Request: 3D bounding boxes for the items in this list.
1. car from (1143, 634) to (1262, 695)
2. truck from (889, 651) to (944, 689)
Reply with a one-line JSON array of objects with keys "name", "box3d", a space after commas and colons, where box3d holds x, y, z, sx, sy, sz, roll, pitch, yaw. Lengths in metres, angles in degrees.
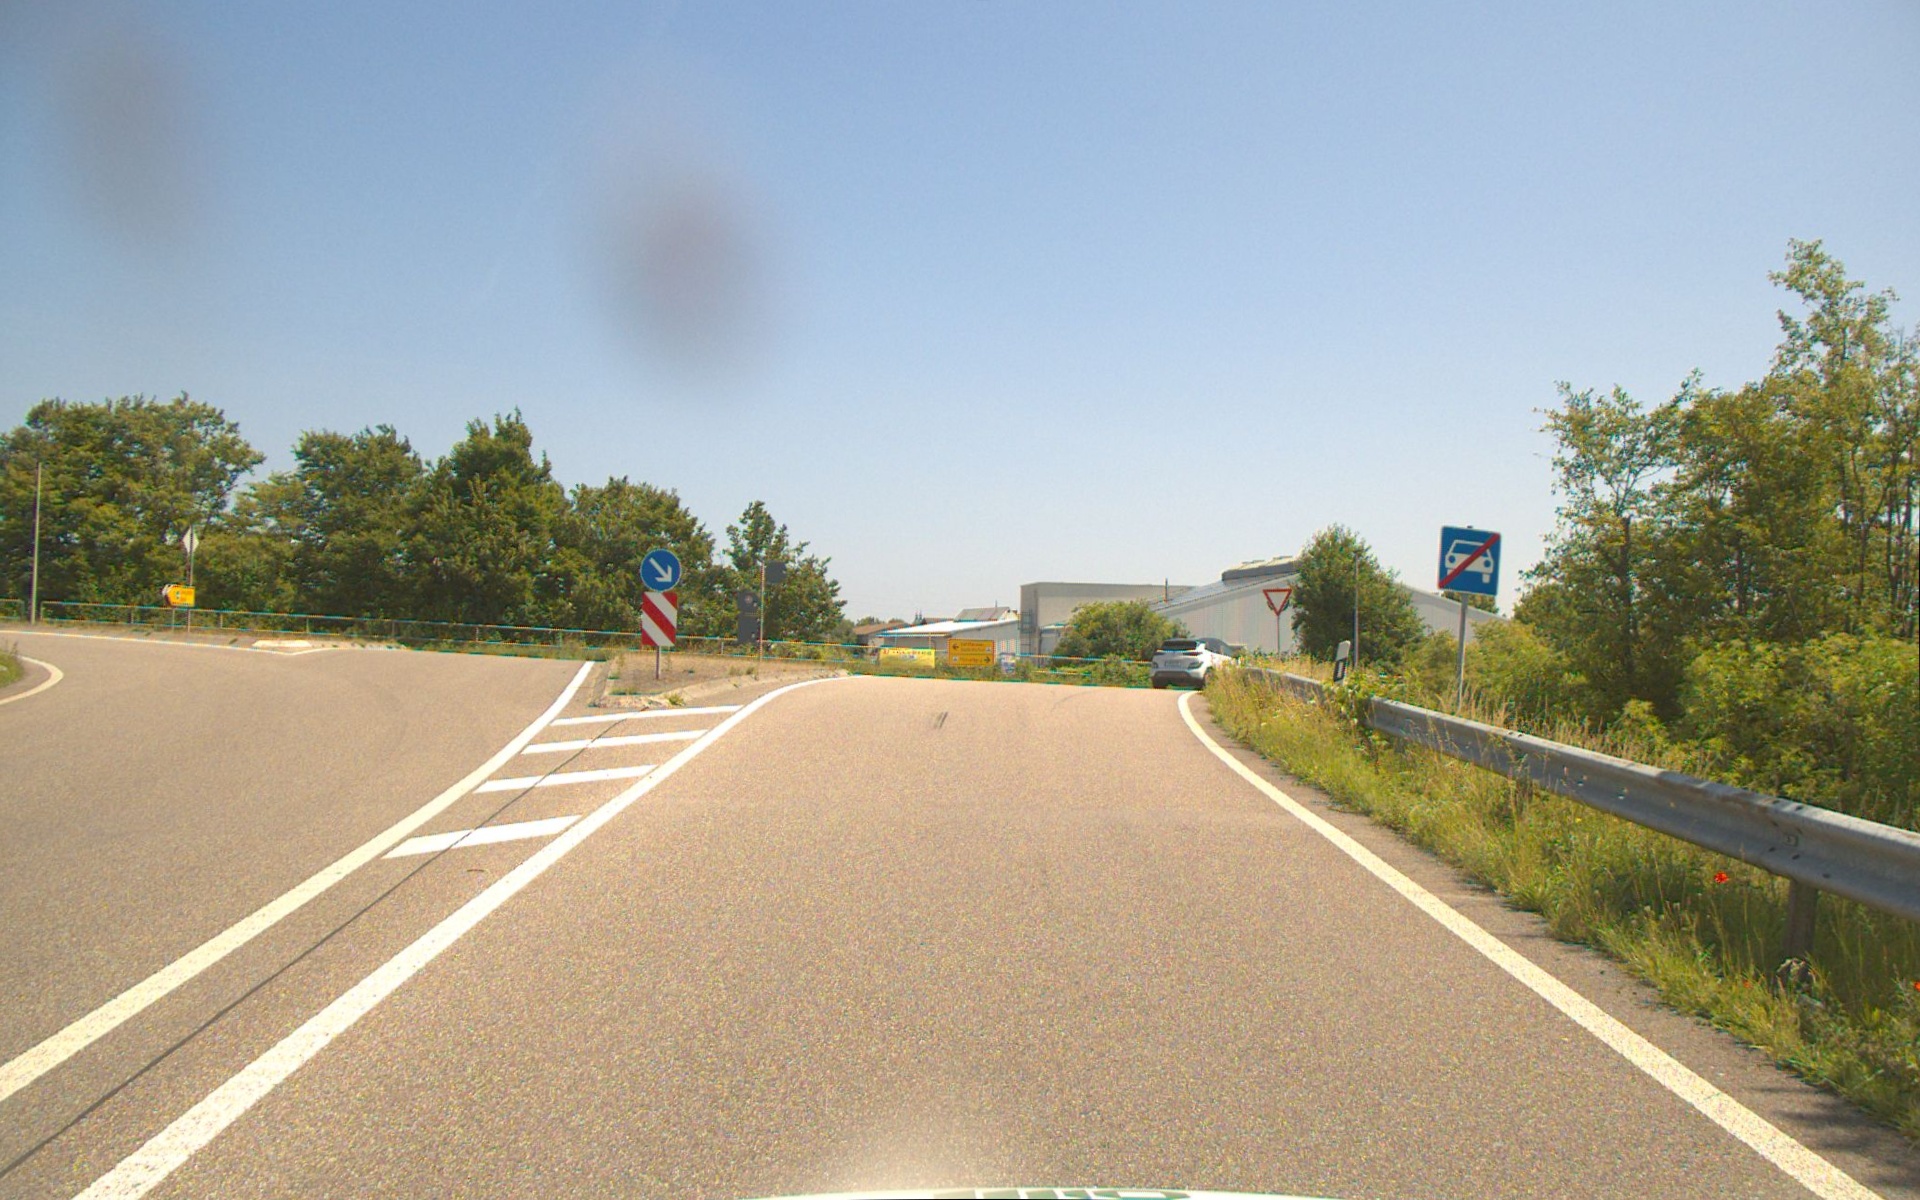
[{"name": "car", "box3d": [7.196, 1.886, 48.903, 1.779, 1.721, 3.981, -1, -2, 38]}, {"name": "truck", "box3d": [-5.341, 8.415, 199.681, 3.646, 4.387, 13.289, 3, -3, -14]}]
